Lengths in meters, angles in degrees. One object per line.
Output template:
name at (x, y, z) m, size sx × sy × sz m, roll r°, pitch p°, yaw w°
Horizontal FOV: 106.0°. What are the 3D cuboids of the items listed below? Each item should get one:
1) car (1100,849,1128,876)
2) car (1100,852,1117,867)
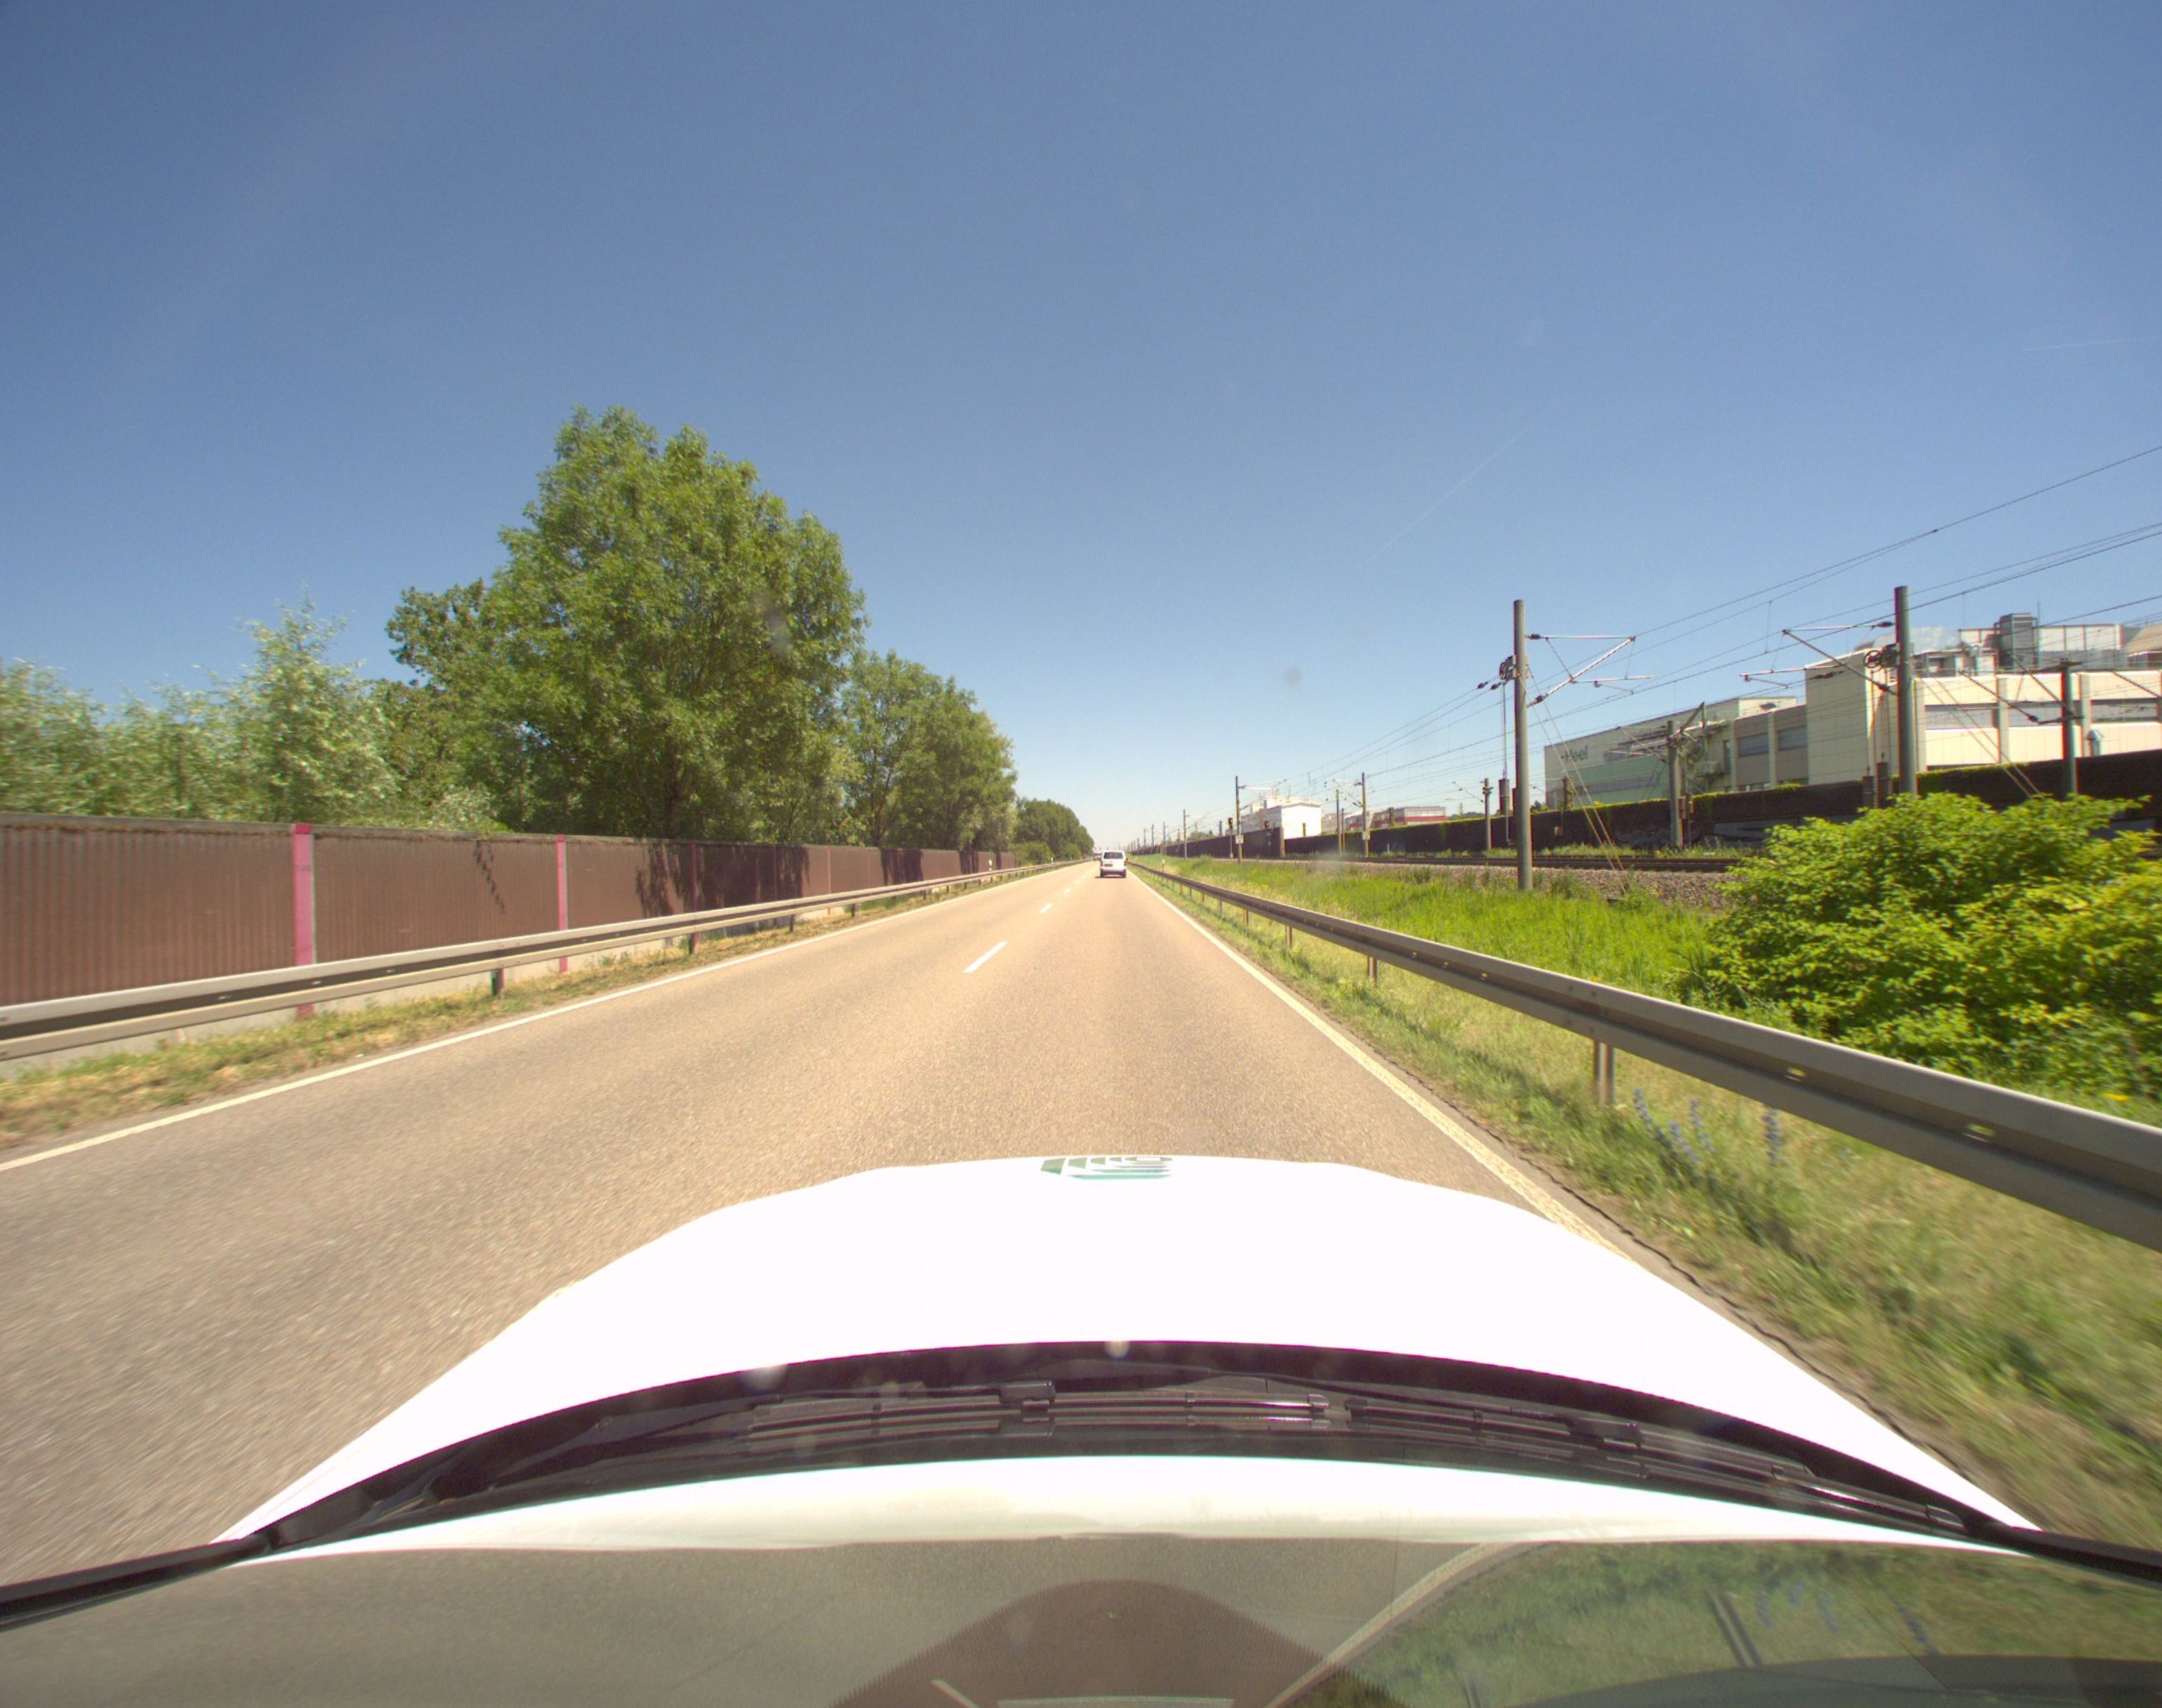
car at (2.367, 0.609, 58.762) m, size 1.986 × 1.850 × 4.002 m, roll 1°, pitch 0°, yaw 2°
car at (3.334, 0.643, 99.572) m, size 1.986 × 1.850 × 4.002 m, roll 1°, pitch 0°, yaw 2°
